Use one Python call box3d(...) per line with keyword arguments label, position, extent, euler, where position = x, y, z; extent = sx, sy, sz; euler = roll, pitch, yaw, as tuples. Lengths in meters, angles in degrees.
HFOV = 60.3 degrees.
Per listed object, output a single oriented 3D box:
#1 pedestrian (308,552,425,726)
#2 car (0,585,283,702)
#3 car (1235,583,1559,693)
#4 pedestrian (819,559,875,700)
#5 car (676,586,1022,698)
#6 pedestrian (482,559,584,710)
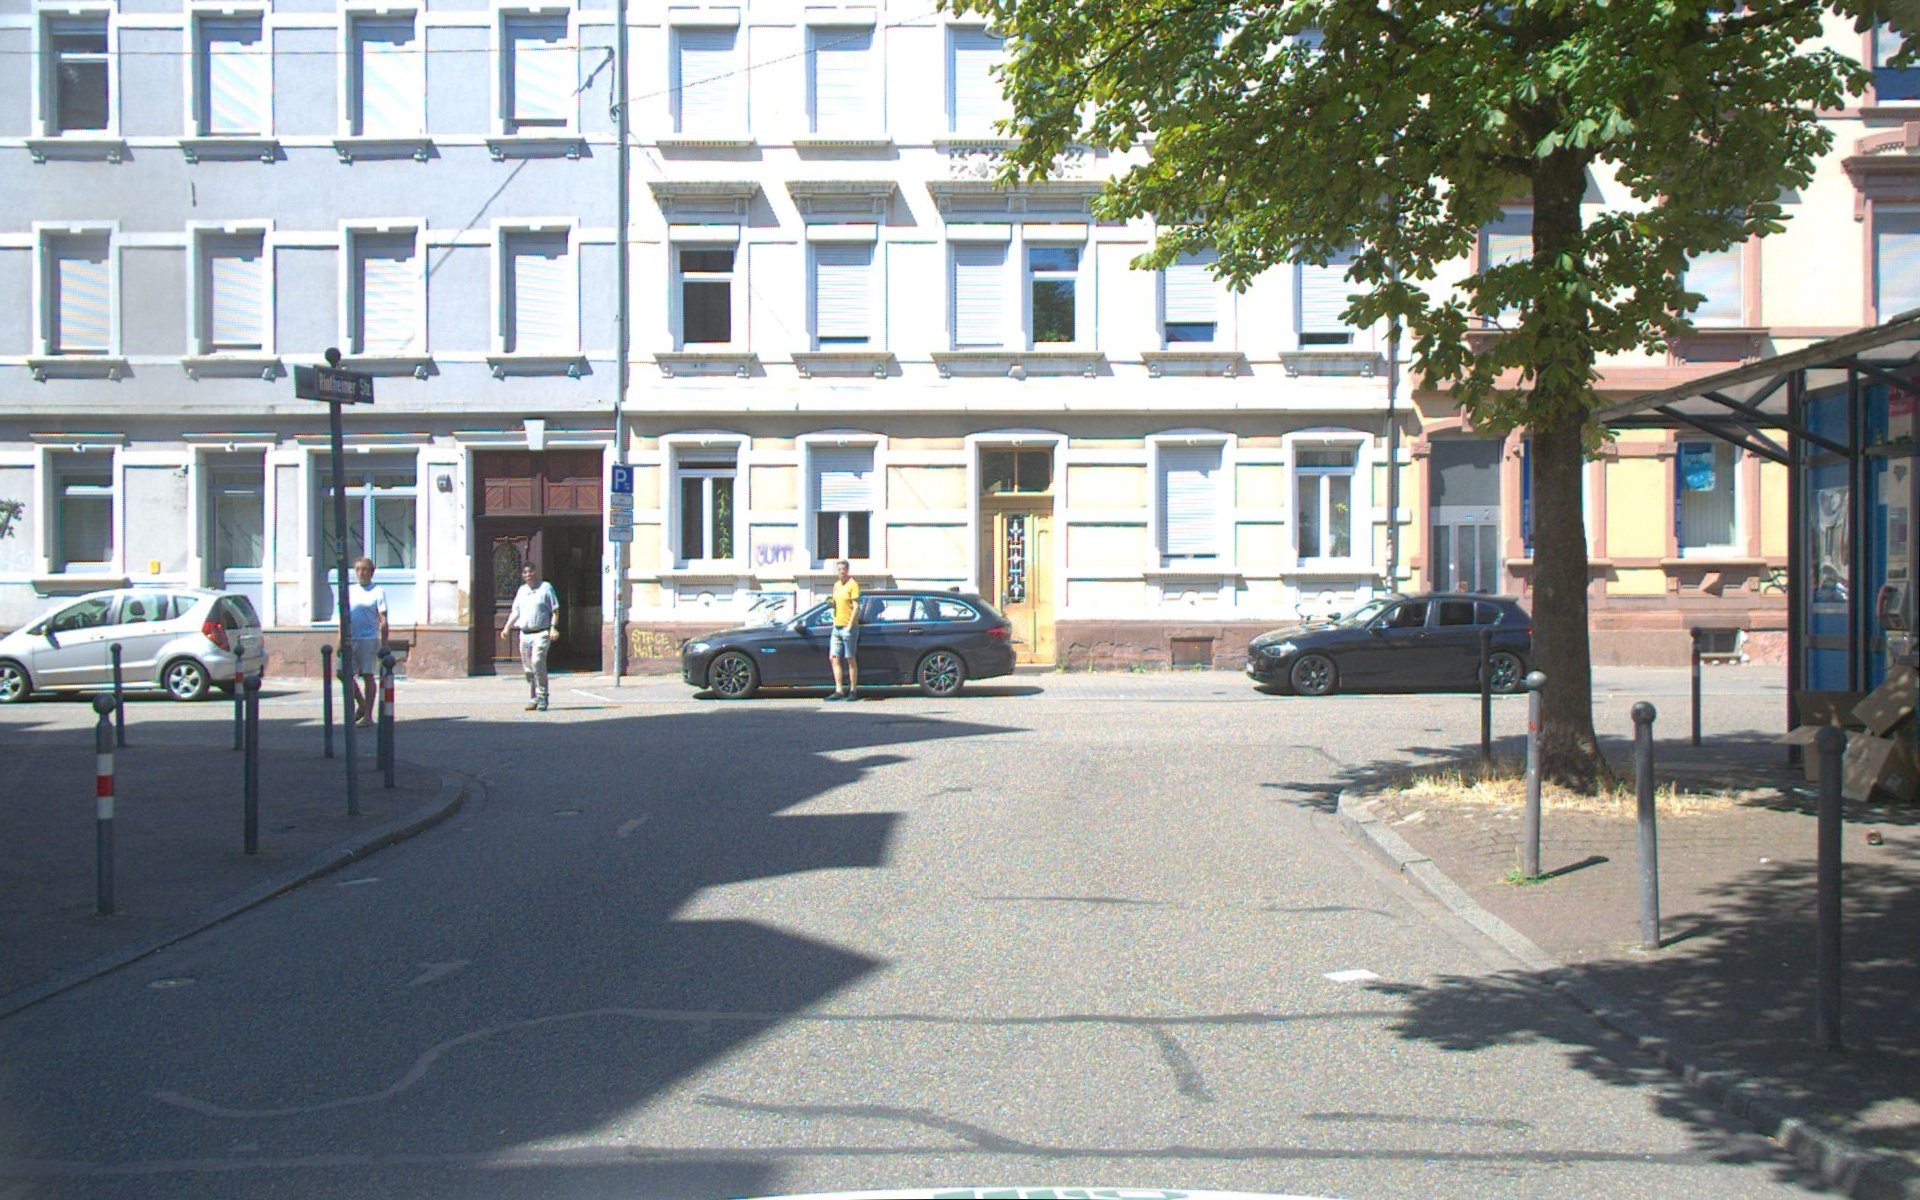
box3d(label="pedestrian", position=(-6.720, 0.433, 18.756), extent=(0.832, 1.922, 0.935), euler=(-1, 0, 19))
box3d(label="car", position=(-12.264, 0.614, 24.171), extent=(3.964, 1.589, 1.807), euler=(-1, 0, -1))
box3d(label="car", position=(6.217, 0.515, 23.846), extent=(4.206, 1.394, 1.807), euler=(-1, 2, 0))
box3d(label="pedestrian", position=(-1.545, 0.400, 22.656), extent=(0.710, 1.886, 0.684), euler=(-1, 0, -2))
box3d(label="car", position=(-1.517, 0.574, 23.793), extent=(4.759, 1.462, 2.000), euler=(-1, 0, 0))
box3d(label="pedestrian", position=(-5.358, 0.429, 20.817), extent=(0.882, 1.846, 0.961), euler=(-1, 0, 12))
